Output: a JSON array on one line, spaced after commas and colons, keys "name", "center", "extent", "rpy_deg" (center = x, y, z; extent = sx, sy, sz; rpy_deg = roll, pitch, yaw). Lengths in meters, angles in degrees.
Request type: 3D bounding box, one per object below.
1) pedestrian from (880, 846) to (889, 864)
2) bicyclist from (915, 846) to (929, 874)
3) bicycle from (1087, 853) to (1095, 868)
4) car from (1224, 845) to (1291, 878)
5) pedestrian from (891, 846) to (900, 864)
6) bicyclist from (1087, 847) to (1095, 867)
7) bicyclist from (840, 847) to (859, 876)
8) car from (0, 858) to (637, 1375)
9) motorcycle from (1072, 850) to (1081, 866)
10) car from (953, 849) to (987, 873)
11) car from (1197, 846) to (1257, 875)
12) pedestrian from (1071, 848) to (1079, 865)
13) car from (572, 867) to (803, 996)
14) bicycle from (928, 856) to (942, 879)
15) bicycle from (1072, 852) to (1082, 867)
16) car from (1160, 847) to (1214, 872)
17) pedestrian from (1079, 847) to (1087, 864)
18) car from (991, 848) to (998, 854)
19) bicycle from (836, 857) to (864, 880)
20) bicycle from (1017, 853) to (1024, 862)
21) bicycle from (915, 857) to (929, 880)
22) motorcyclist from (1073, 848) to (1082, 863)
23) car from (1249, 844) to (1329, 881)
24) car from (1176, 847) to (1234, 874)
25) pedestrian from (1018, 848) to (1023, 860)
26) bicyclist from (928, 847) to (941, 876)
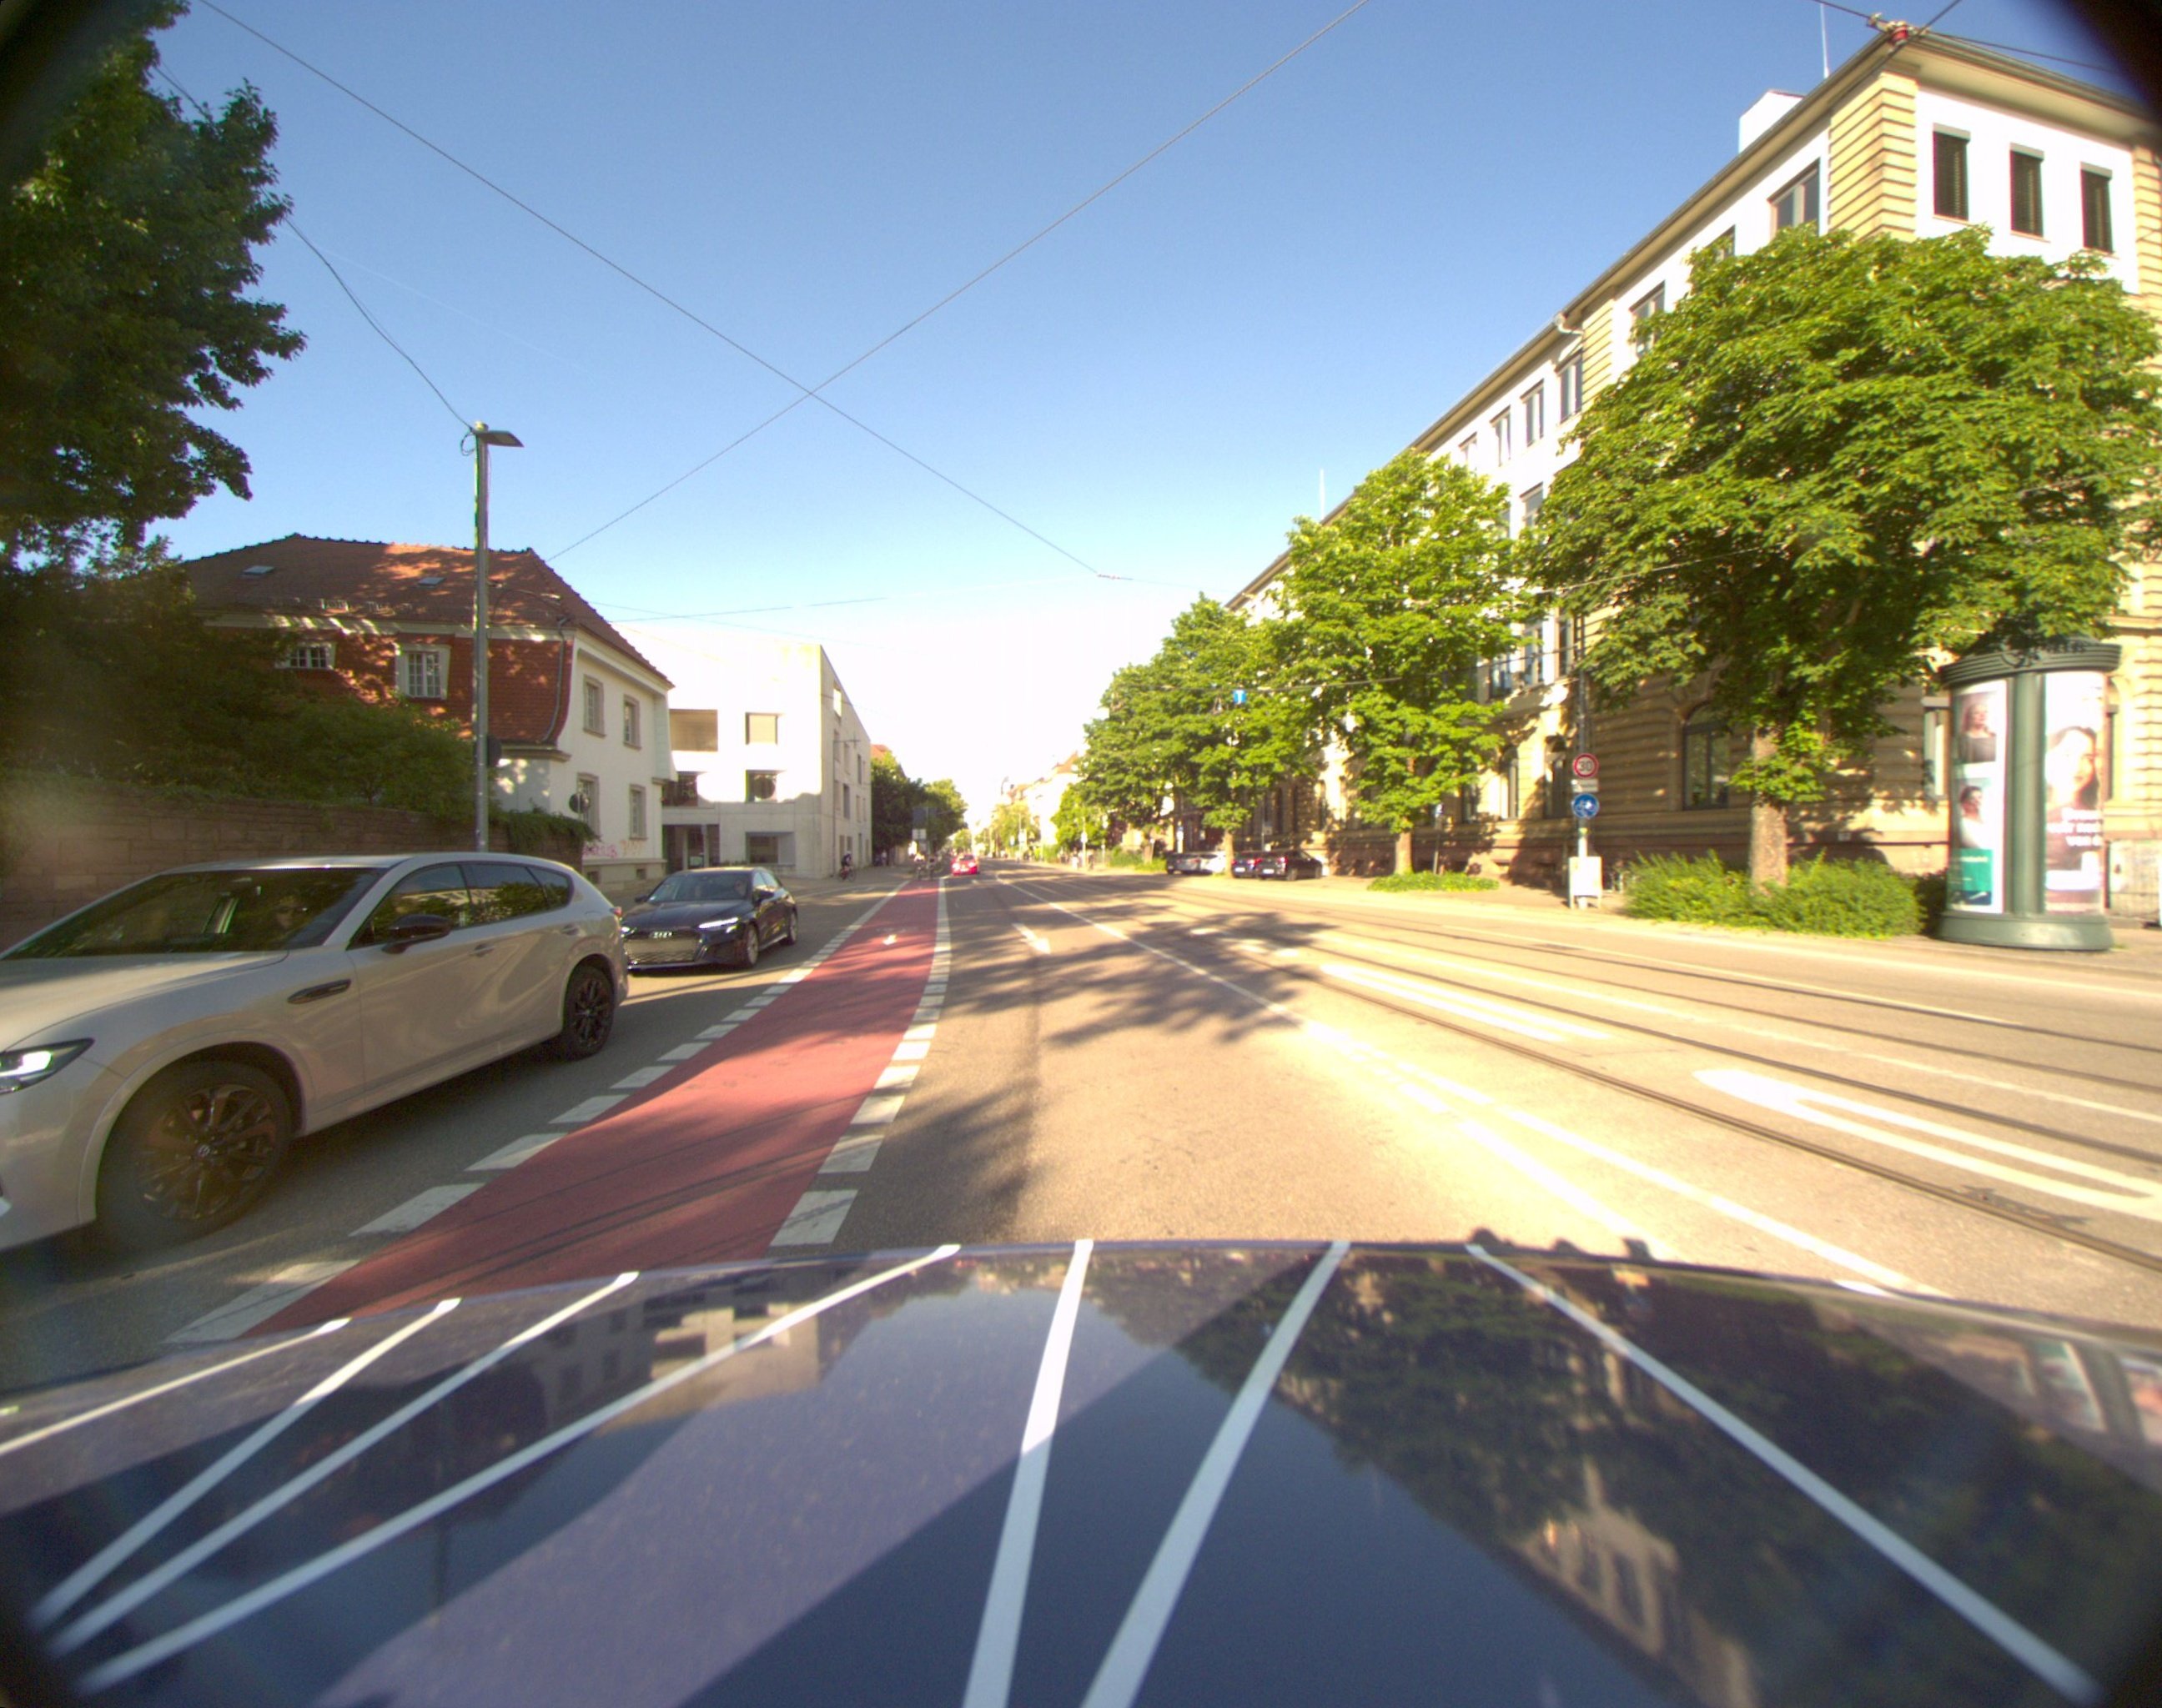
[{"name": "pedestrian", "center": [-17.989, 0.121, 69.629], "extent": [0.676, 1.638, 0.817], "rpy_deg": [-1, 1, -9]}, {"name": "bicyclist", "center": [-9.284, 0.325, 44.381], "extent": [0.676, 1.638, 1.028], "rpy_deg": [0, 1, -8]}, {"name": "bicycle", "center": [0.846, 0.534, 63.124], "extent": [0.676, 1.243, 2.456], "rpy_deg": [0, 1, 1]}, {"name": "car", "center": [9.421, 0.384, 40.409], "extent": [3.657, 1.552, 1.645], "rpy_deg": [-3, 1, -43]}, {"name": "pedestrian", "center": [-17.022, 0.090, 69.754], "extent": [0.676, 1.638, 0.817], "rpy_deg": [-1, 1, -9]}, {"name": "bicyclist", "center": [0.844, 0.217, 63.022], "extent": [0.675, 1.638, 1.029], "rpy_deg": [0, 1, 0]}, {"name": "bicyclist", "center": [-12.976, 0.409, 42.625], "extent": [0.675, 1.638, 1.029], "rpy_deg": [0, 1, 5]}, {"name": "car", "center": [-4.805, 0.934, 4.469], "extent": [1.946, 1.682, 4.529], "rpy_deg": [-2, 1, -5]}, {"name": "motorcycle", "center": [-0.369, 0.330, 65.165], "extent": [0.680, 1.285, 2.265], "rpy_deg": [-2, 1, 1]}, {"name": "car", "center": [-7.564, 0.441, 52.190], "extent": [1.649, 1.552, 3.650], "rpy_deg": [-2, 1, 1]}, {"name": "car", "center": [8.892, 0.382, 46.125], "extent": [3.657, 1.552, 1.645], "rpy_deg": [-3, 1, -43]}, {"name": "pedestrian", "center": [-0.561, 0.263, 76.890], "extent": [0.676, 1.638, 0.817], "rpy_deg": [-1, 1, -9]}, {"name": "car", "center": [-5.619, 0.994, 11.476], "extent": [1.789, 1.425, 3.997], "rpy_deg": [-2, 1, -8]}, {"name": "bicycle", "center": [-8.260, 0.736, 42.958], "extent": [0.676, 1.243, 2.454], "rpy_deg": [0, 1, -8]}, {"name": "bicycle", "center": [-0.320, 0.428, 64.974], "extent": [0.676, 1.243, 2.455], "rpy_deg": [0, 1, -5]}, {"name": "car", "center": [7.238, 0.354, 51.766], "extent": [3.657, 1.552, 1.645], "rpy_deg": [-3, 1, -43]}, {"name": "pedestrian", "center": [0.173, 0.156, 77.822], "extent": [0.676, 1.638, 0.817], "rpy_deg": [-1, 1, -9]}, {"name": "car", "center": [-23.167, -0.740, 203.544], "extent": [1.650, 1.552, 3.646], "rpy_deg": [-2, 1, -12]}, {"name": "bicycle", "center": [-12.964, 0.809, 42.730], "extent": [0.675, 1.243, 2.457], "rpy_deg": [0, 1, 5]}, {"name": "bicycle", "center": [-8.665, 0.432, 108.804], "extent": [0.676, 1.243, 2.456], "rpy_deg": [-1, 1, 0]}, {"name": "bicycle", "center": [-9.291, 0.822, 44.476], "extent": [0.676, 1.243, 2.454], "rpy_deg": [0, 1, -8]}, {"name": "motorcyclist", "center": [-0.329, 0.128, 64.835], "extent": [0.676, 1.243, 0.853], "rpy_deg": [0, 1, -5]}, {"name": "car", "center": [10.385, 0.400, 37.749], "extent": [4.189, 1.621, 1.841], "rpy_deg": [-3, 1, -43]}, {"name": "car", "center": [7.914, 0.383, 48.356], "extent": [3.657, 1.552, 1.645], "rpy_deg": [-3, 1, -43]}, {"name": "pedestrian", "center": [-8.672, 0.010, 108.787], "extent": [0.675, 1.638, 0.817], "rpy_deg": [-1, 1, 0]}, {"name": "bicyclist", "center": [-8.265, 0.403, 42.970], "extent": [0.676, 1.638, 1.028], "rpy_deg": [0, 1, -8]}]
